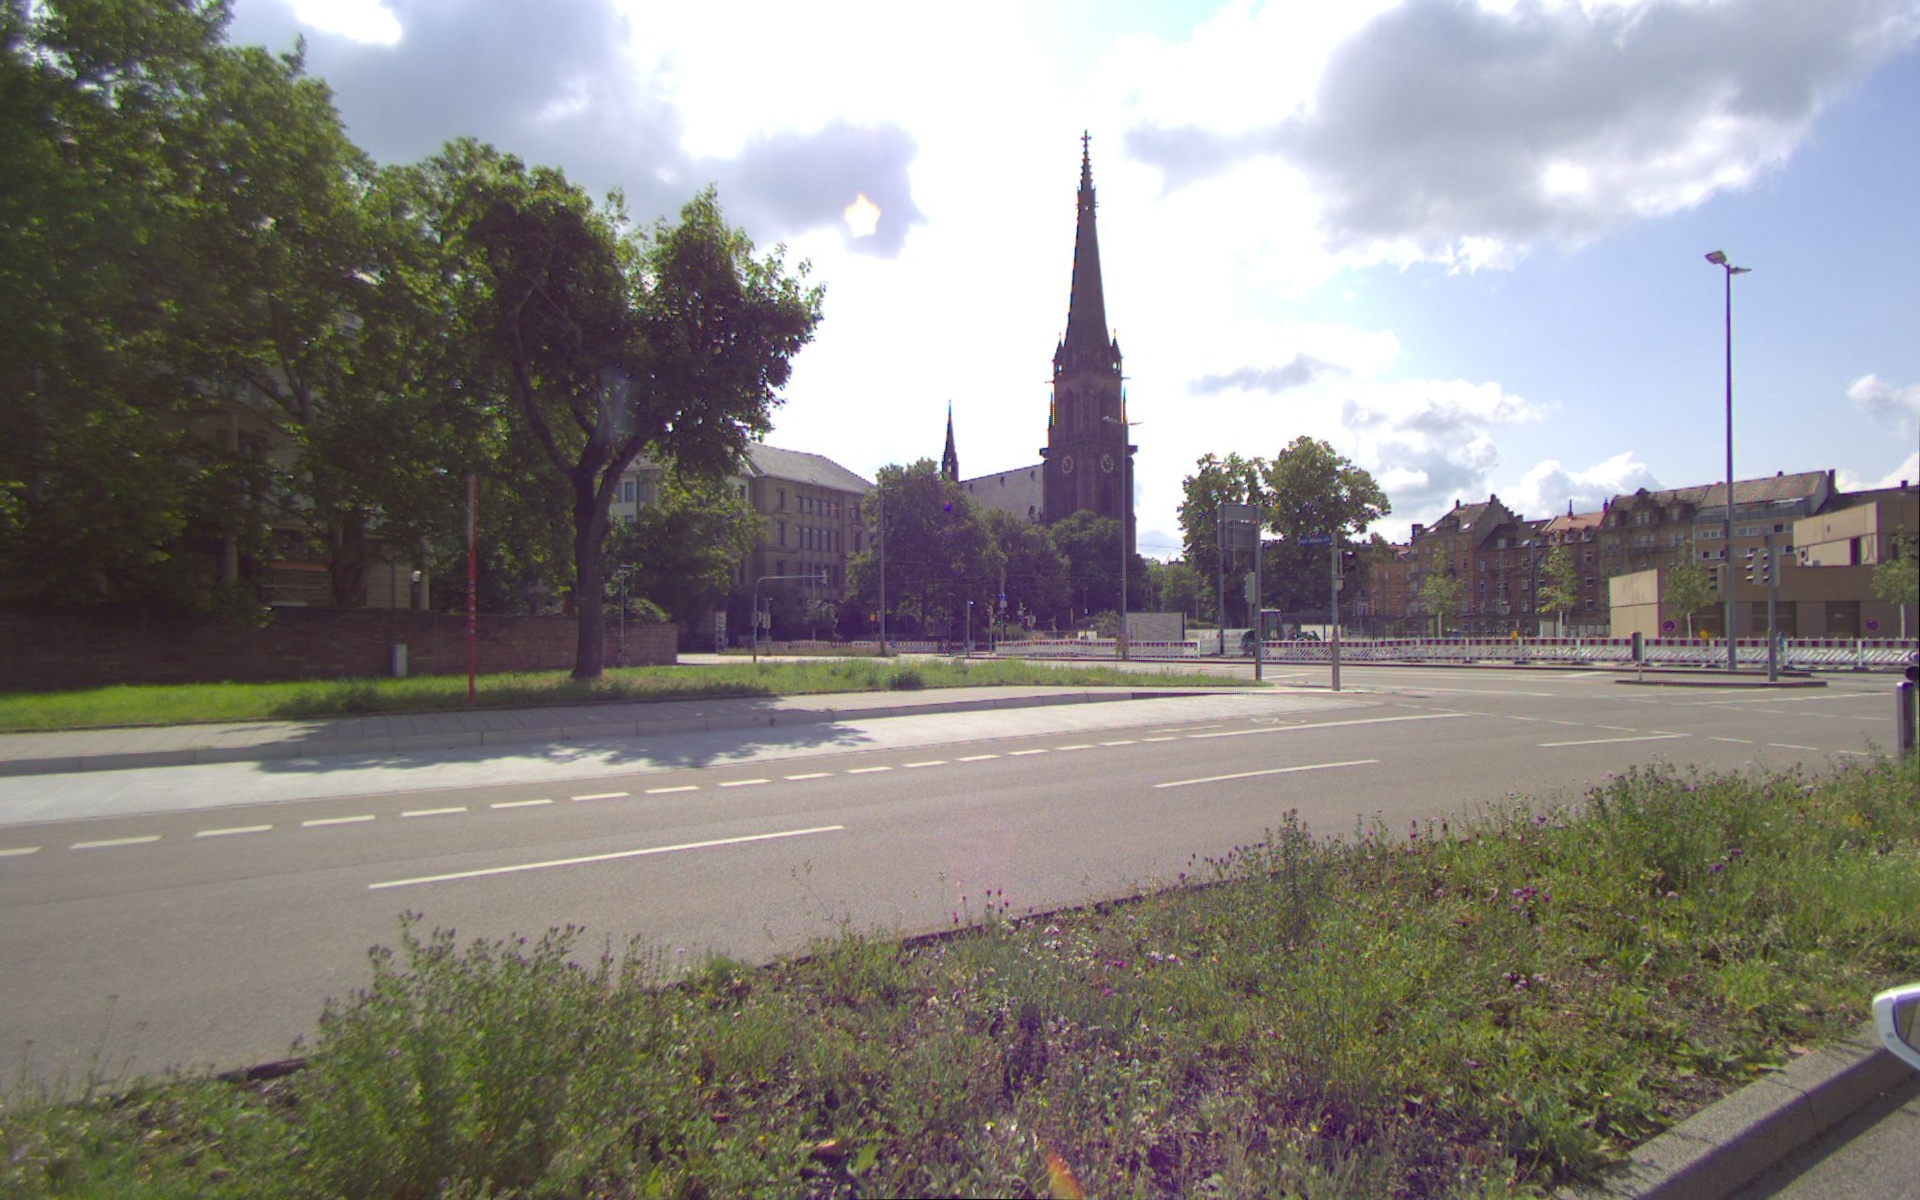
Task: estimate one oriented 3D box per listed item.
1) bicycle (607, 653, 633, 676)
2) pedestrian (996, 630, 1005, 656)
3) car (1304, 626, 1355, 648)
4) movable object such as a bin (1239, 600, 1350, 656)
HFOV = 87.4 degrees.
[{"bbox_3d":[-15.321,2.891,45.254,0.386,1.005,1.524,0,-2,10],"label":"bicycle"},{"bbox_3d":[2.935,3.104,72.957,0.492,1.874,0.526,1,-2,-24],"label":"pedestrian"},{"bbox_3d":[32.402,3.214,88.123,4.098,1.906,1.803,-1,-2,20],"label":"car"},{"bbox_3d":[17.875,1.505,53.940,5.430,2.922,2.290,0,-2,12],"label":"movable object such as a bin"}]
